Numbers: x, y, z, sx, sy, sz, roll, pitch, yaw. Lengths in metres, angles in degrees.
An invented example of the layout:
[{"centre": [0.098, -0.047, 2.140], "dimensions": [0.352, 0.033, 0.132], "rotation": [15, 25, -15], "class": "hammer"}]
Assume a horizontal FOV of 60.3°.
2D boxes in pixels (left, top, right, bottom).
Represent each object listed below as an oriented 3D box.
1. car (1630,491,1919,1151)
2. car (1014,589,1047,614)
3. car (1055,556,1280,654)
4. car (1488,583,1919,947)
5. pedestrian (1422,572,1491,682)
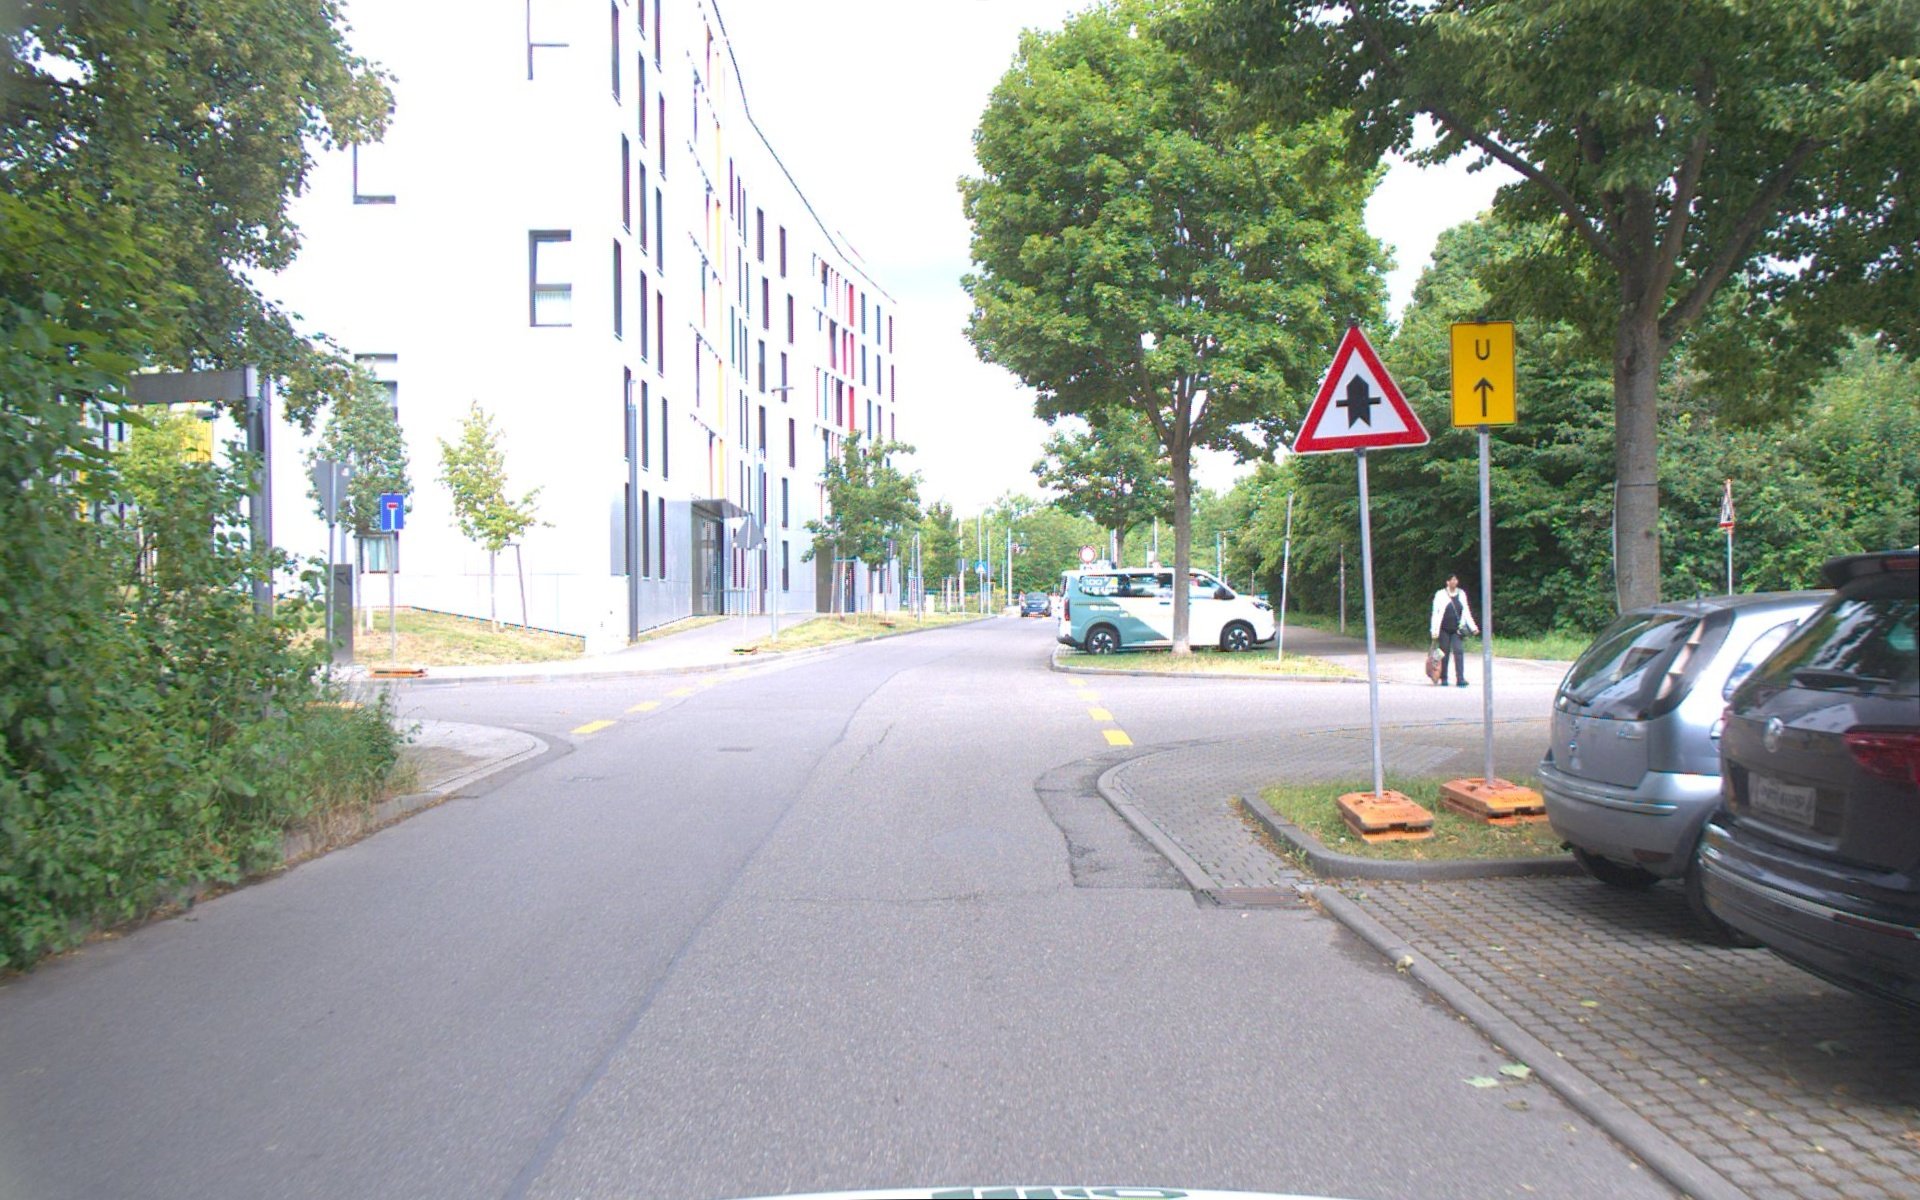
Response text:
[{"centre": [4.487, 0.496, 5.076], "dimensions": [4.037, 1.678, 1.981], "rotation": [-2, 0, 3], "class": "car"}, {"centre": [4.193, 0.087, 97.730], "dimensions": [1.575, 1.412, 4.003], "rotation": [1, 0, 7], "class": "car"}, {"centre": [4.683, 0.105, 37.807], "dimensions": [4.870, 2.006, 1.847], "rotation": [-2, 0, 0], "class": "car"}, {"centre": [4.621, 0.635, 7.636], "dimensions": [3.753, 1.427, 1.852], "rotation": [-2, 0, 1], "class": "car"}, {"centre": [7.388, 0.398, 24.640], "dimensions": [0.817, 1.604, 0.810], "rotation": [0, 0, 5], "class": "pedestrian"}]
